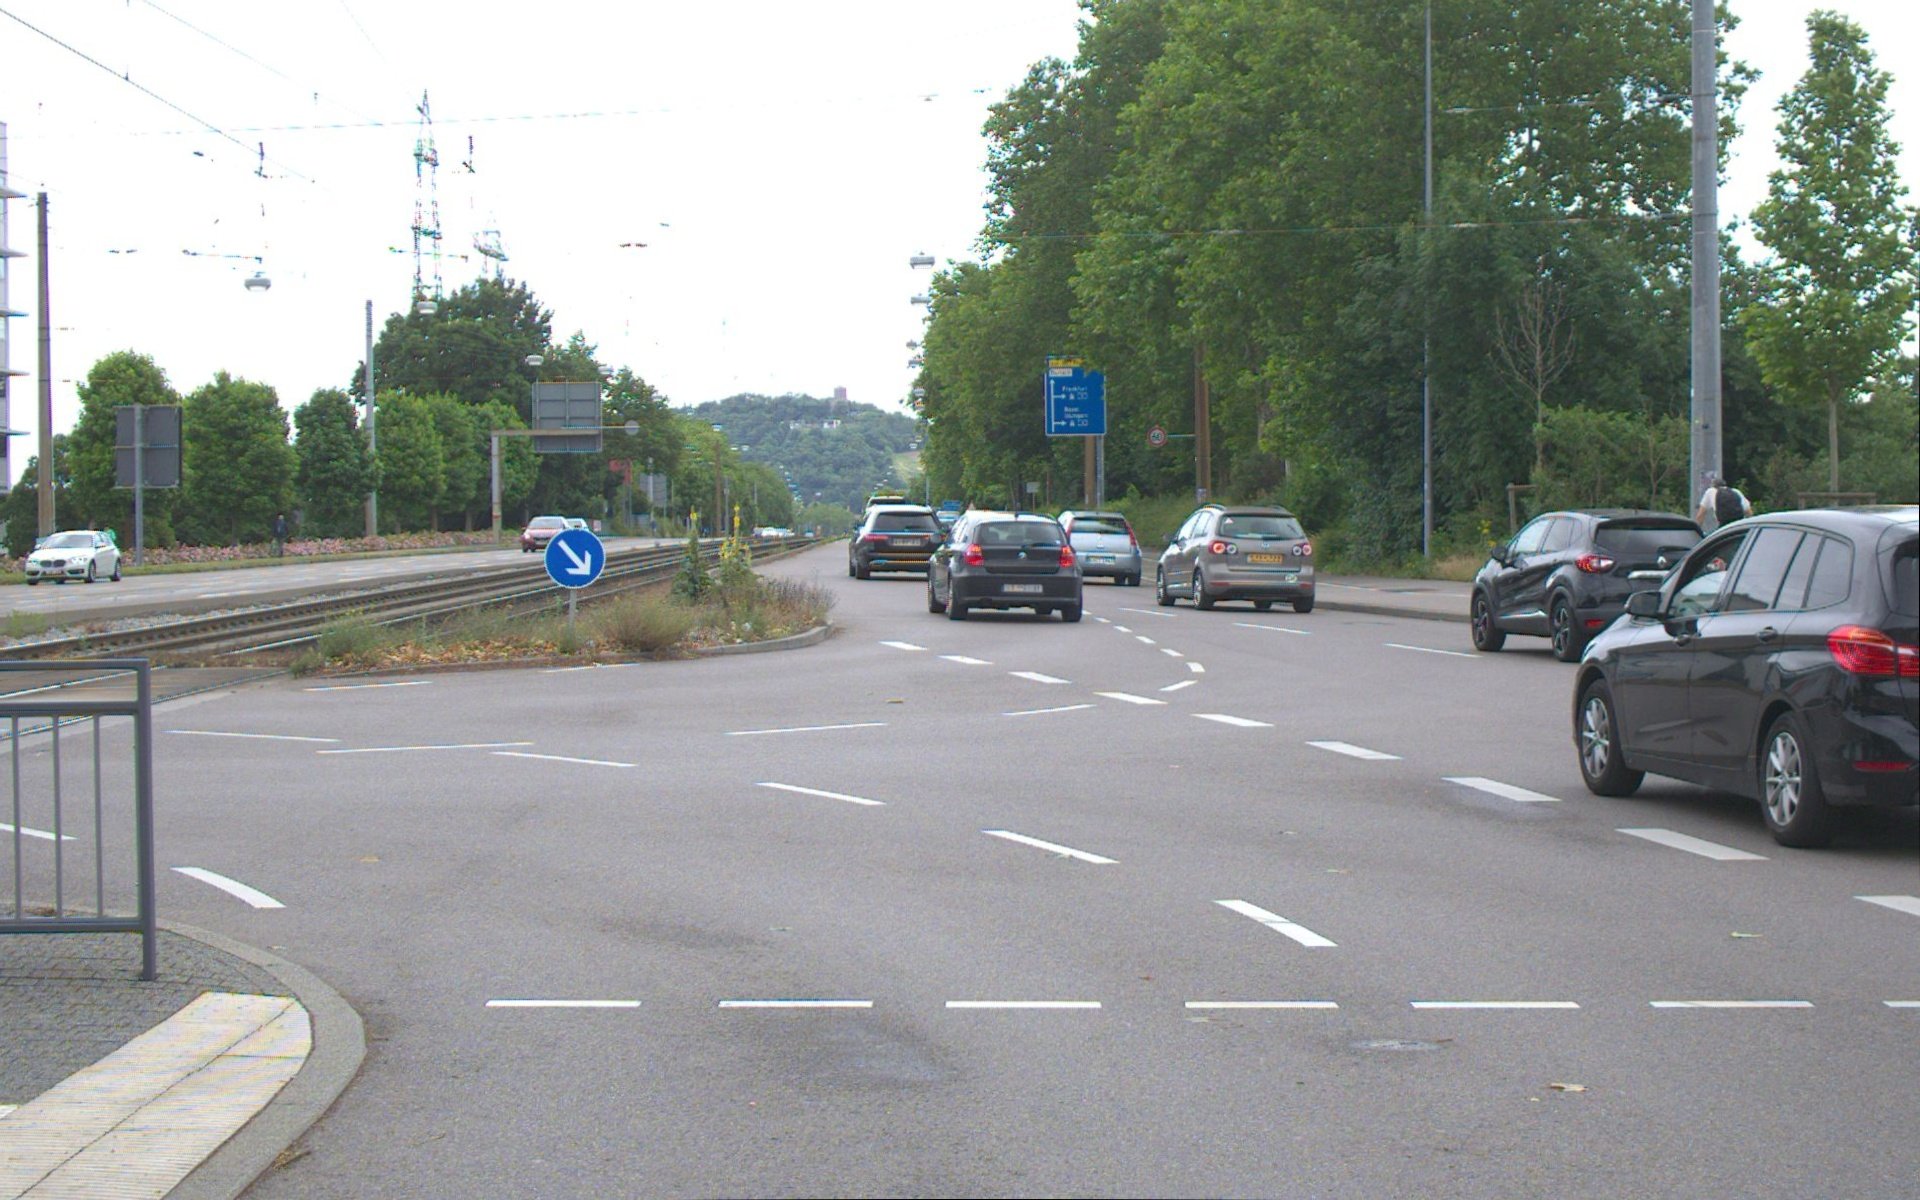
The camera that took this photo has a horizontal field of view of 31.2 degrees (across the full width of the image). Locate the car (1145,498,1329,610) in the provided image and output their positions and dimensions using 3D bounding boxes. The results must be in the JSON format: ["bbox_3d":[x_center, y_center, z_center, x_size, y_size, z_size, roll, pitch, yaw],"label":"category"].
[{"bbox_3d":[4.141,-0.709,52.067,1.856,1.556,4.318,2,1,-8],"label":"car"}]

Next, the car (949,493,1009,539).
[{"bbox_3d":[0.619,-2.802,115.050,1.815,1.475,3.672,1,1,-2],"label":"car"}]

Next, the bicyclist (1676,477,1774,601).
[{"bbox_3d":[9.369,-0.761,42.131,0.816,1.473,1.000,-2,3,-11],"label":"bicyclist"}]

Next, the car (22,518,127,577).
[{"bbox_3d":[-24.015,-1.434,93.359,1.728,1.533,4.046,1,1,1],"label":"car"}]

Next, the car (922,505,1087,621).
[{"bbox_3d":[0.548,-0.520,45.458,1.746,1.426,3.376,1,2,-7],"label":"car"}]

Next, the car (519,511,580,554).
[{"bbox_3d":[-16.926,-2.781,141.942,1.993,1.722,4.000,1,1,0],"label":"car"}]

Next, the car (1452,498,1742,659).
[{"bbox_3d":[6.707,-0.256,36.665,1.856,1.556,4.318,2,1,-6],"label":"car"}]

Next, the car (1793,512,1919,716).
[{"bbox_3d":[7.920,0.097,26.544,1.728,1.504,3.633,1,2,-6],"label":"car"}]

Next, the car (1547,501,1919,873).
[{"bbox_3d":[4.492,0.329,17.311,1.831,1.631,4.318,0,1,-7],"label":"car"}]

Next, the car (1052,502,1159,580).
[{"bbox_3d":[2.871,-1.166,68.523,1.815,1.475,3.672,1,1,-2],"label":"car"}]

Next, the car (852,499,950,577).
[{"bbox_3d":[-1.184,-1.207,67.699,1.815,1.475,3.672,1,1,-2],"label":"car"}]
